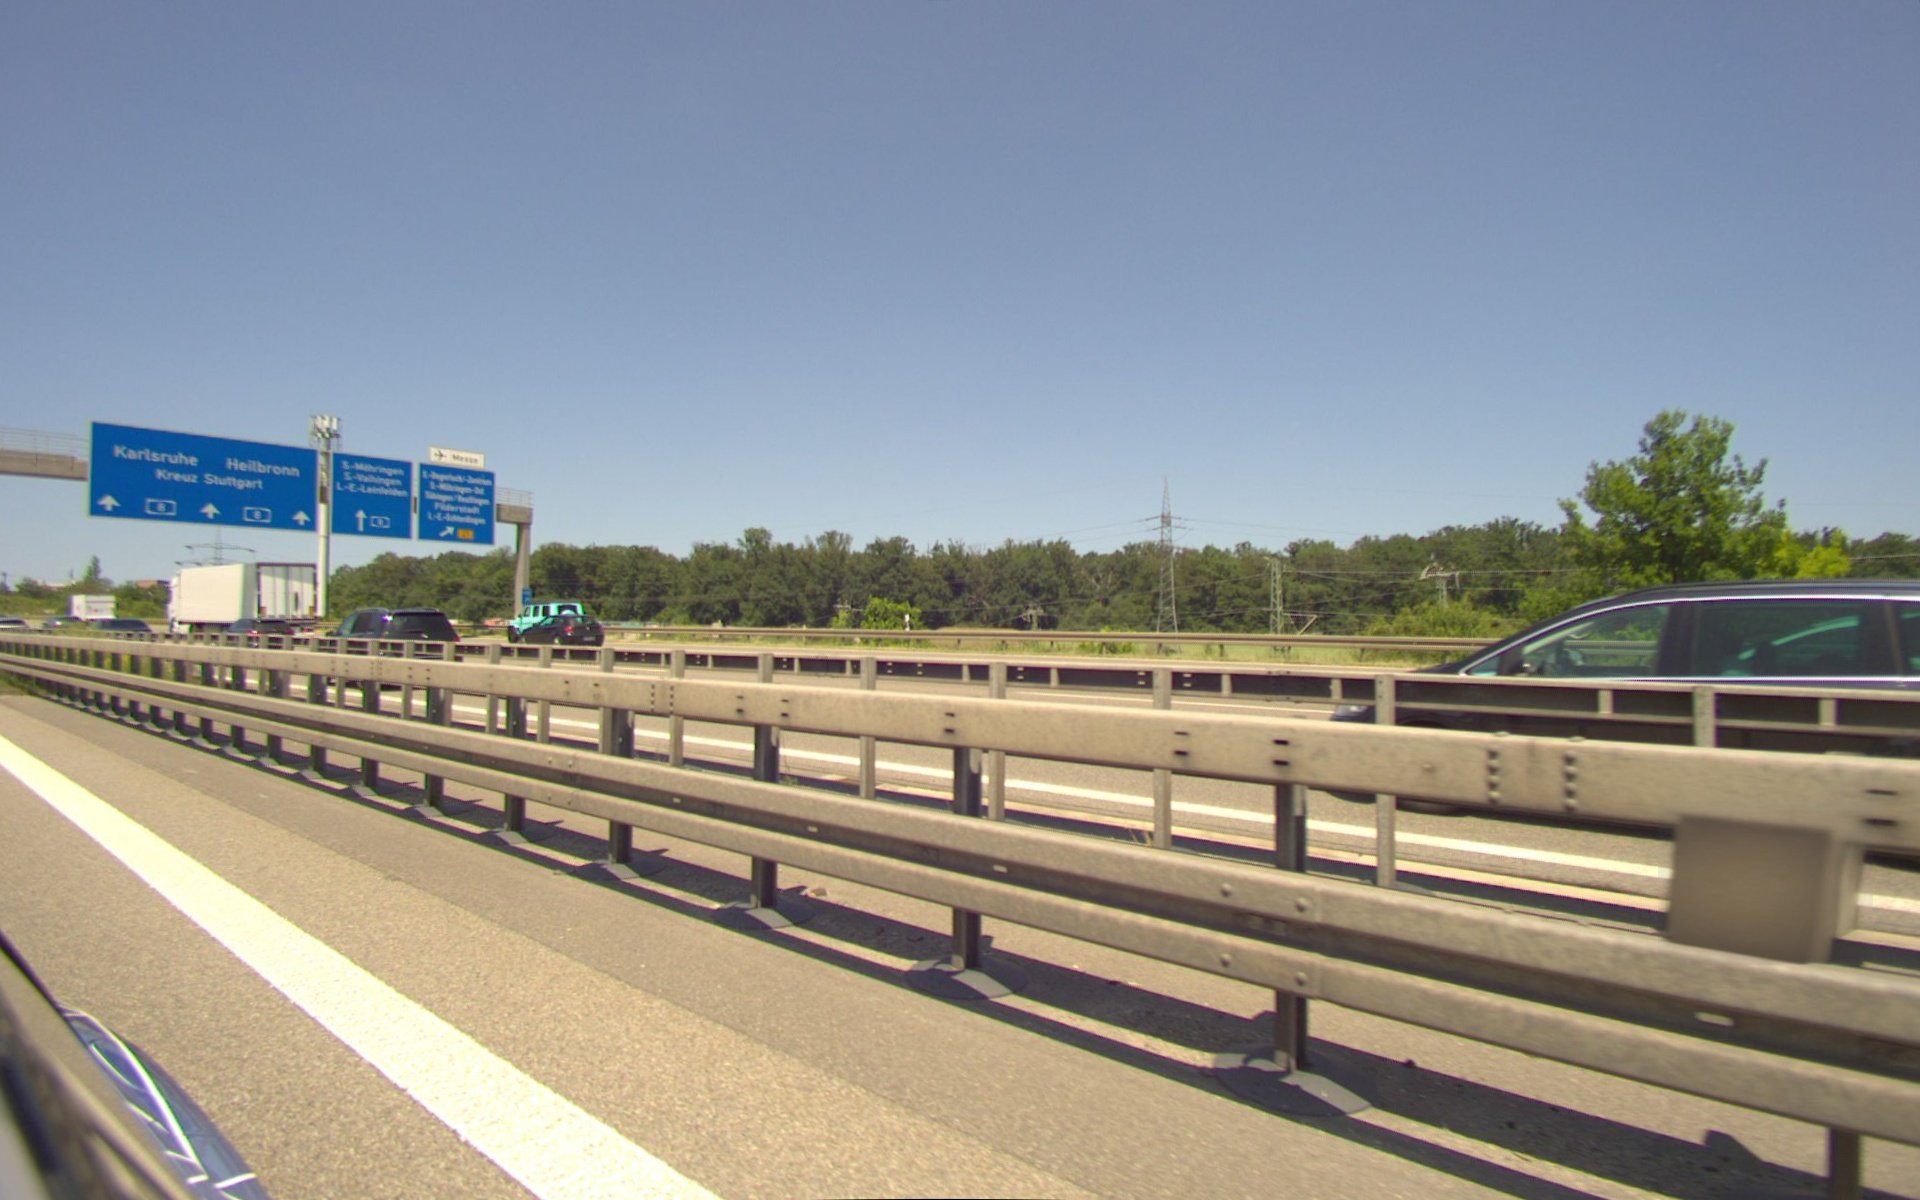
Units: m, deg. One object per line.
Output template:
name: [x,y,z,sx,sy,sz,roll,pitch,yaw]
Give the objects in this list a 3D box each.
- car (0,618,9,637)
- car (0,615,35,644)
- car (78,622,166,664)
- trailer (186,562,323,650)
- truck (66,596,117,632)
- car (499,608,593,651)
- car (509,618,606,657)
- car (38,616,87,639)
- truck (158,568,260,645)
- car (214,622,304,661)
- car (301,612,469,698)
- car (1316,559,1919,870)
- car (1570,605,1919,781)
car: [-80.870,2.267,84.454,3.996,1.573,1.725,-1,-1,39]
car: [-55.192,1.716,58.682,5.352,1.600,1.713,-1,-1,41]
car: [-32.396,1.622,39.077,4.993,1.471,1.822,-1,-1,41]
trailer: [-37.511,0.337,53.571,11.401,4.224,3.190,0,0,40]
truck: [-80.088,1.318,93.291,8.105,3.191,2.297,-1,-1,40]
car: [-19.637,1.358,47.871,5.158,1.929,1.995,-1,-1,41]
car: [-15.809,1.435,39.641,4.452,1.436,1.678,-1,-1,41]
car: [-60.992,1.878,68.769,5.097,1.520,1.725,-1,-1,39]
truck: [-43.894,0.421,59.064,7.688,4.241,3.214,-1,-1,41]
car: [-28.599,1.636,41.228,4.993,1.471,1.822,-1,-1,41]
car: [-12.628,1.122,22.088,4.695,1.681,1.738,-1,-1,41]
car: [5.159,0.666,7.083,4.718,1.754,1.738,-1,-1,41]
car: [8.522,0.801,9.434,4.631,1.492,1.738,-1,-1,41]
